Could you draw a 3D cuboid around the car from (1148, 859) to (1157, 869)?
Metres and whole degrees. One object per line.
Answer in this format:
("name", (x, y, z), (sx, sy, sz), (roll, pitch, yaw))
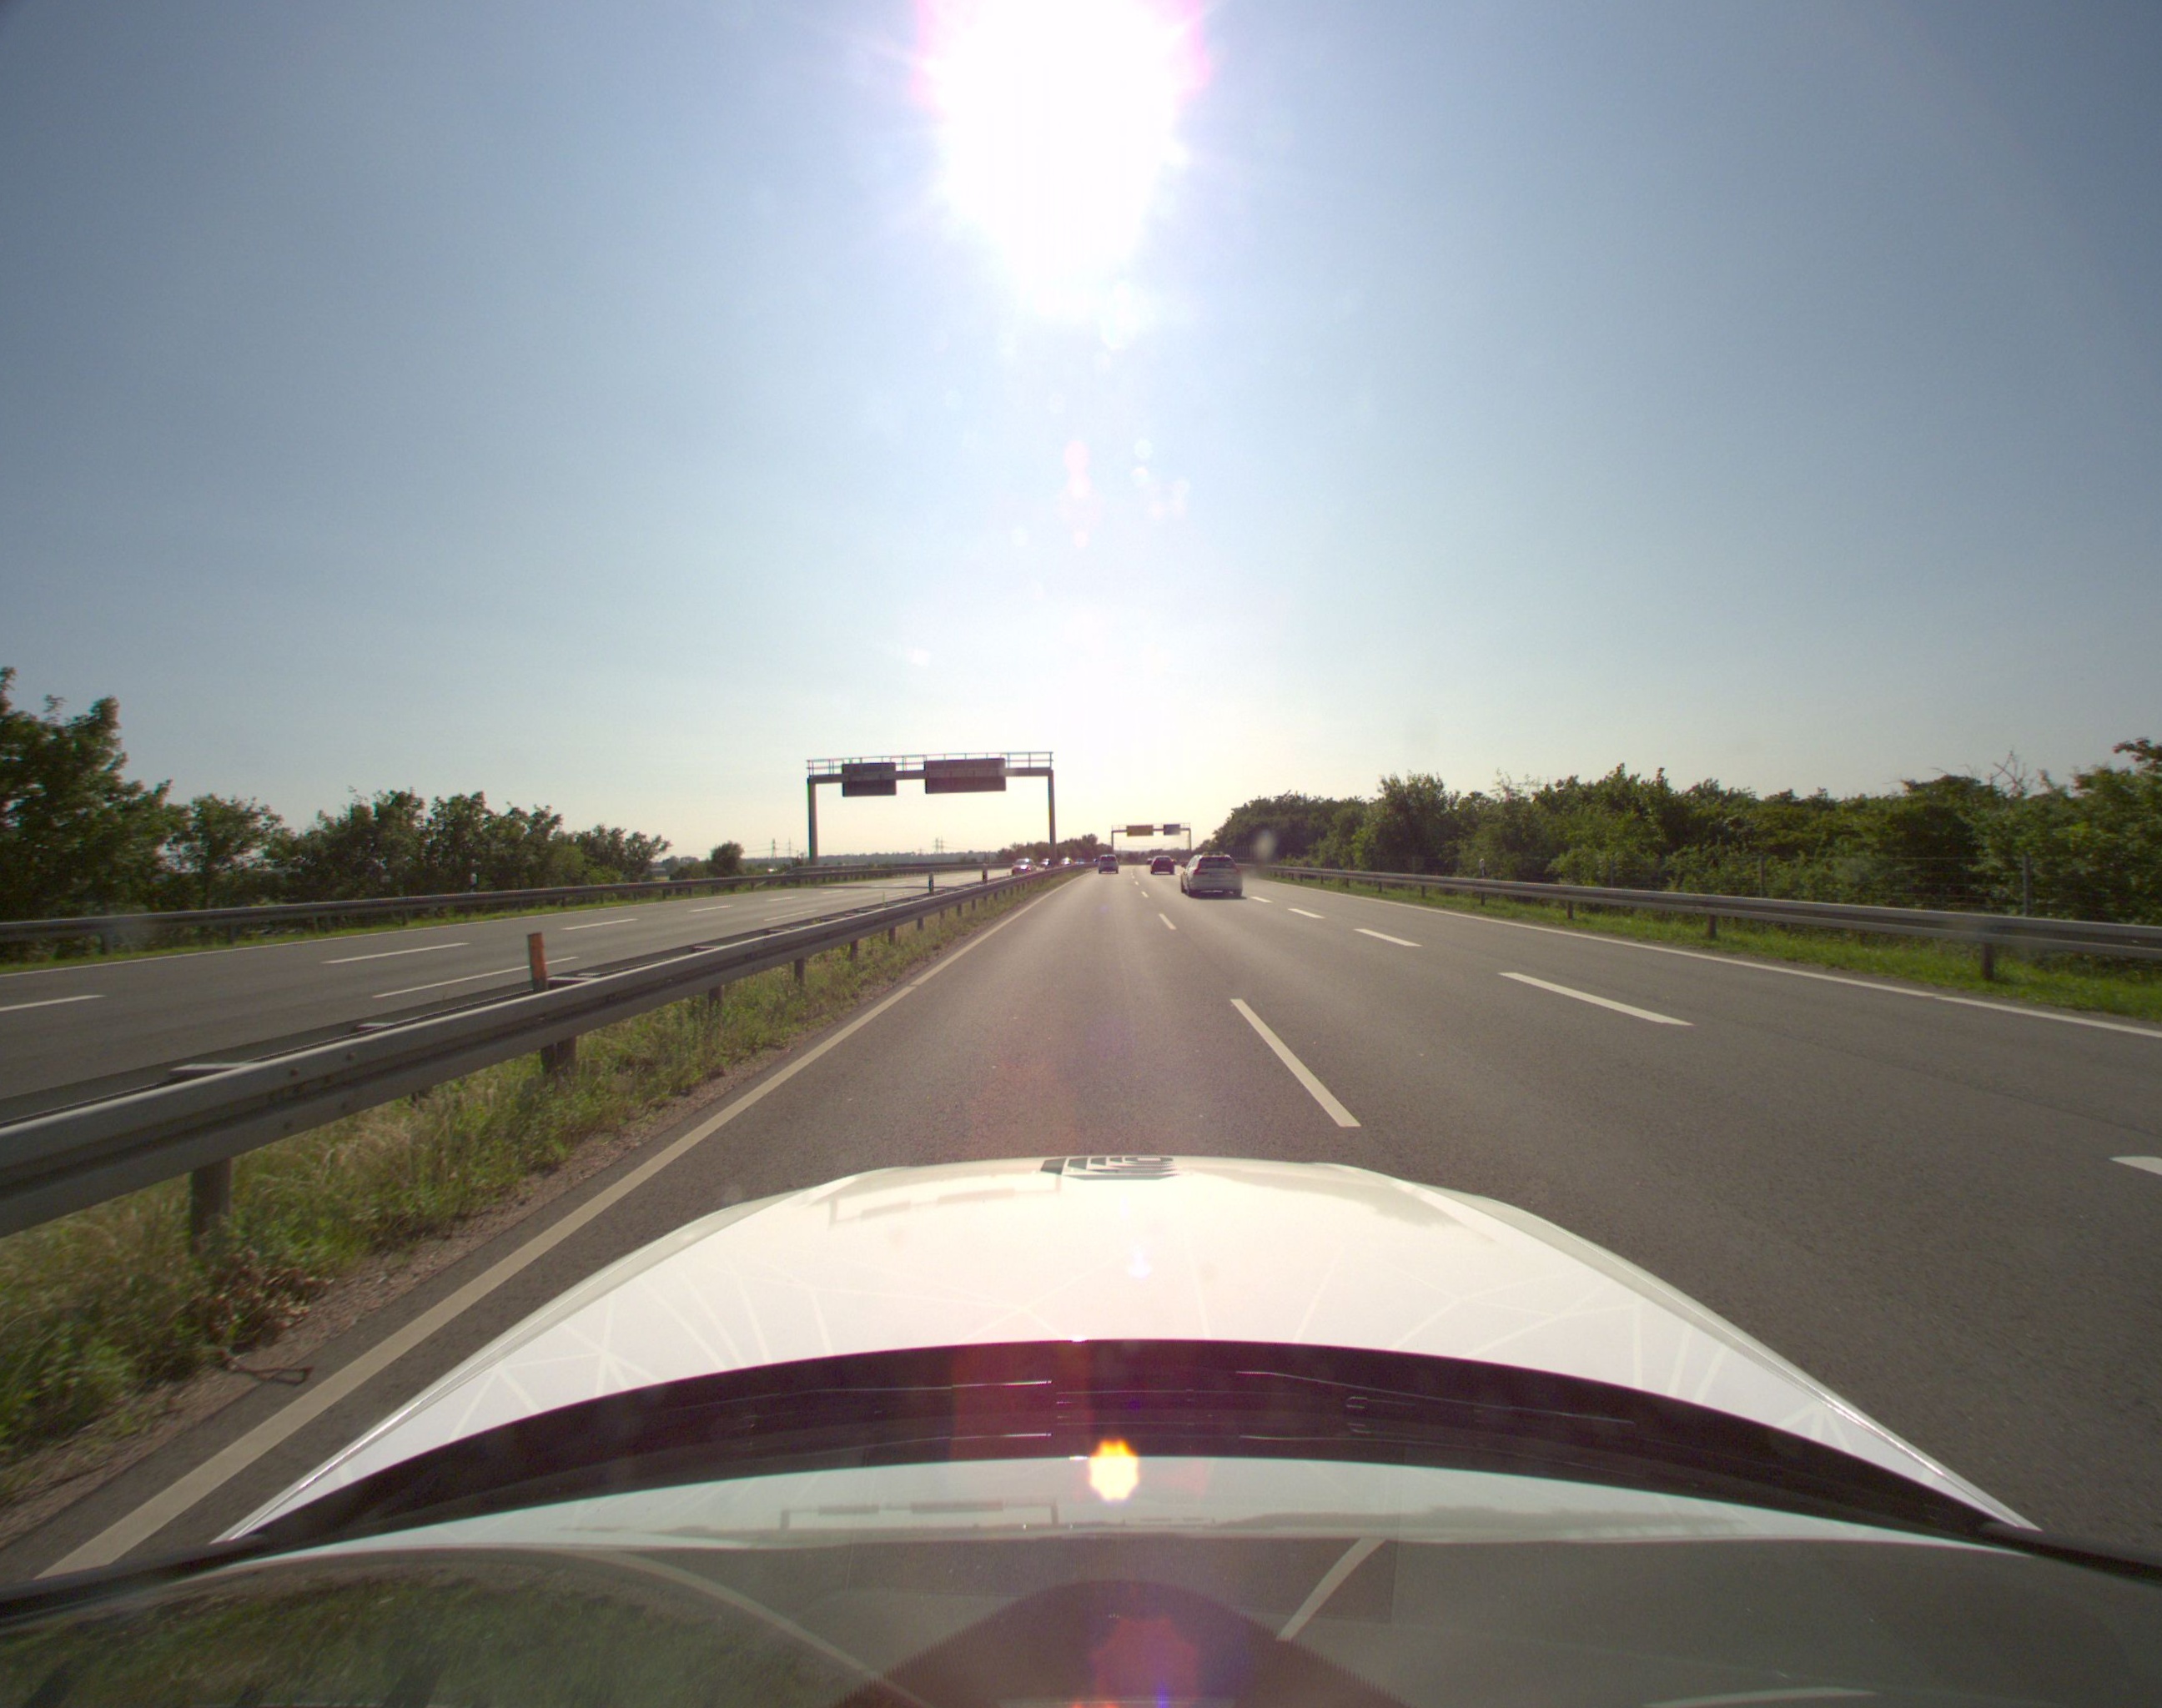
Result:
("car", (15.600, 2.145, 178.629), (1.984, 2.013, 4.005), (0, 0, 4))

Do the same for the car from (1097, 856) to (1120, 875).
("car", (2.316, 0.943, 67.734), (1.786, 1.503, 4.045), (-2, -1, 2))

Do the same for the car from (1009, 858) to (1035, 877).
("car", (-4.778, 1.076, 66.730), (1.704, 1.486, 4.267), (0, 0, 2))

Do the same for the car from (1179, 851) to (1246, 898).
("car", (4.660, 0.692, 29.485), (1.950, 1.601, 4.110), (0, 0, 3))

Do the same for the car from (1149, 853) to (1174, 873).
("car", (6.246, 0.711, 63.625), (1.785, 1.543, 3.674), (0, -1, 3))
